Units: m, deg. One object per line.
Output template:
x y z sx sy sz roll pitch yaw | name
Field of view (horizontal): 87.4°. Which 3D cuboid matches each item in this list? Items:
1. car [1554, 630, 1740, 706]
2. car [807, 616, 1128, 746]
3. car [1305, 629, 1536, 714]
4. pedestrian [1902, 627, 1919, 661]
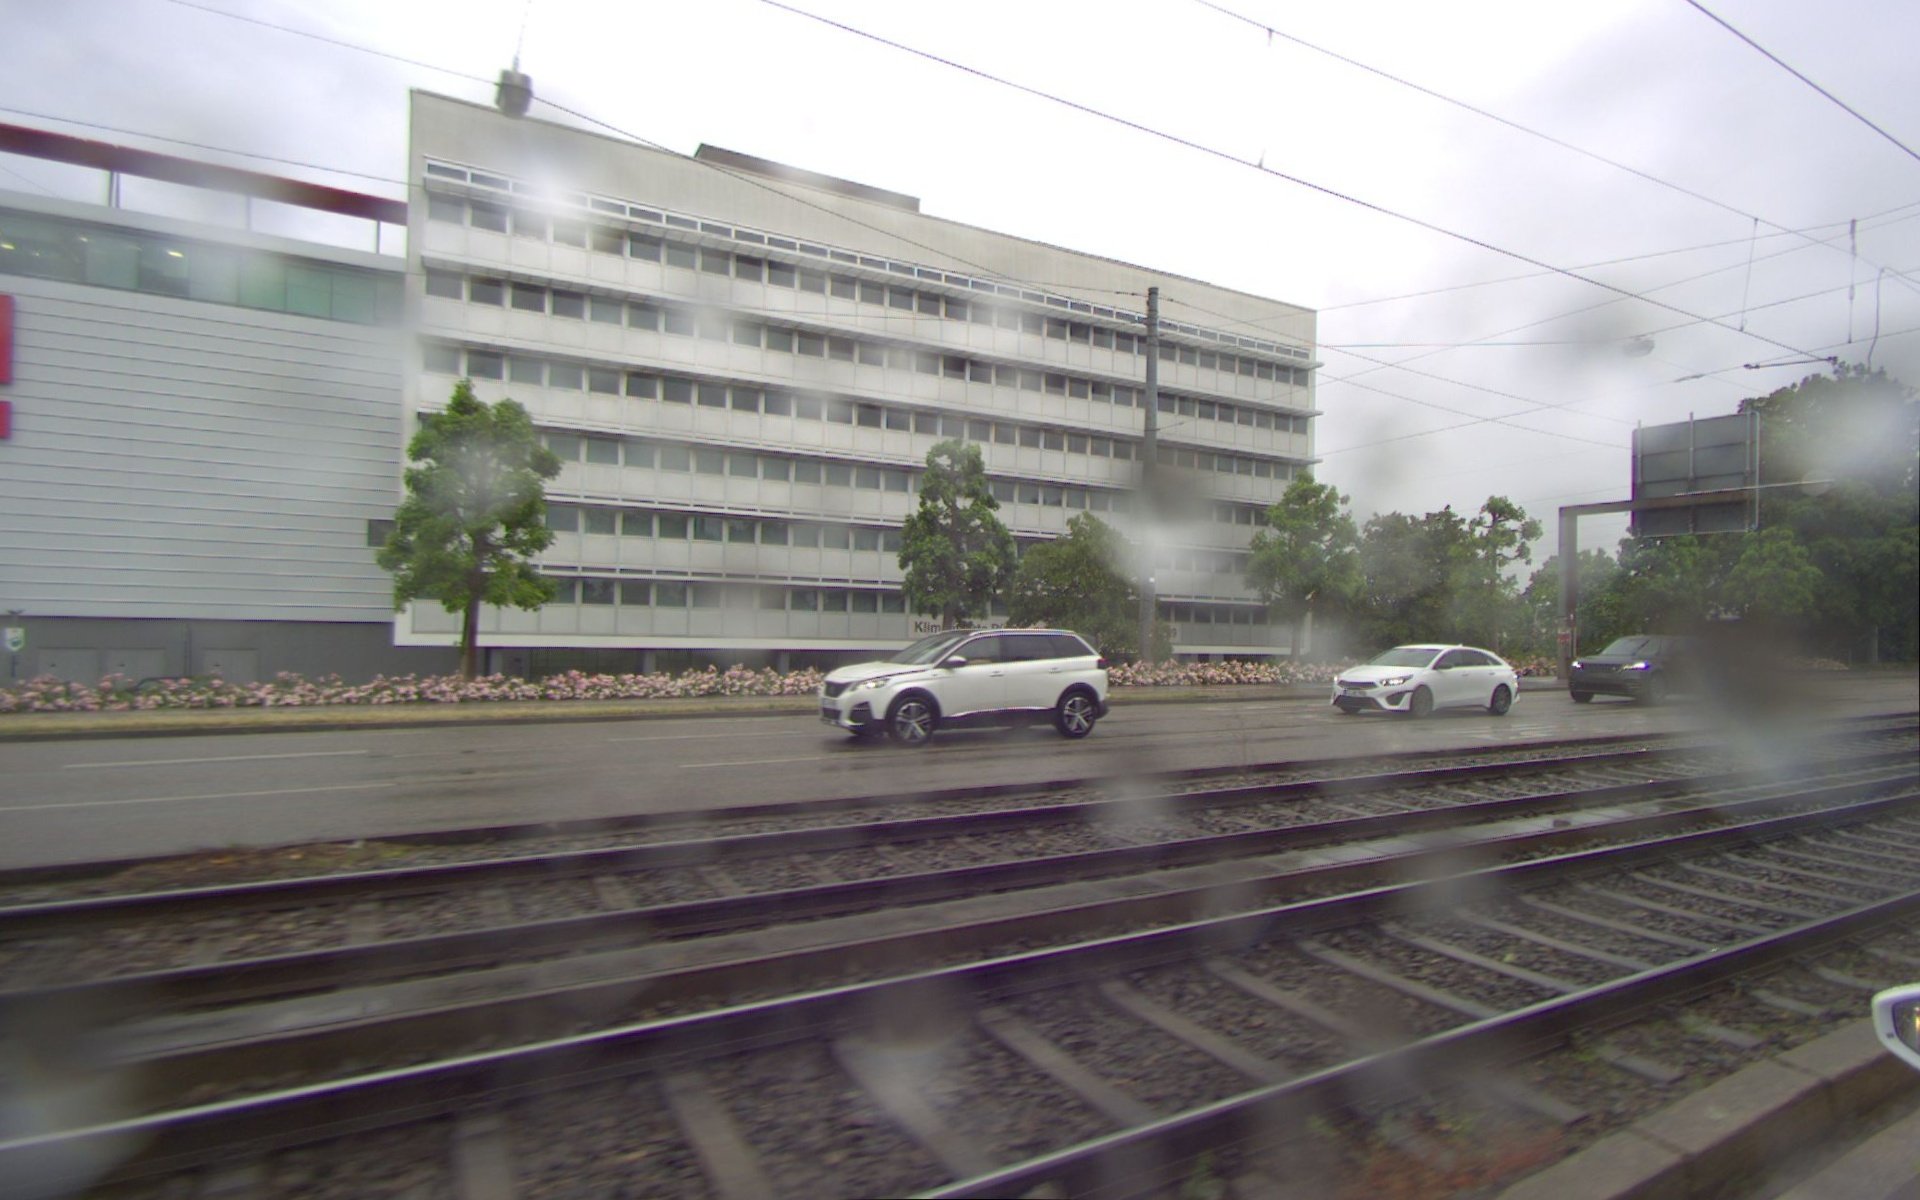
17.332 1.641 25.296 4.824 1.744 1.984 1 -2 -30 | car
0.184 1.132 15.197 4.635 1.705 1.762 1 -1 -31 | car
9.593 1.407 20.874 4.708 1.604 1.985 1 -2 -29 | car
50.125 2.290 52.619 1.107 1.782 0.848 1 -1 -30 | pedestrian
